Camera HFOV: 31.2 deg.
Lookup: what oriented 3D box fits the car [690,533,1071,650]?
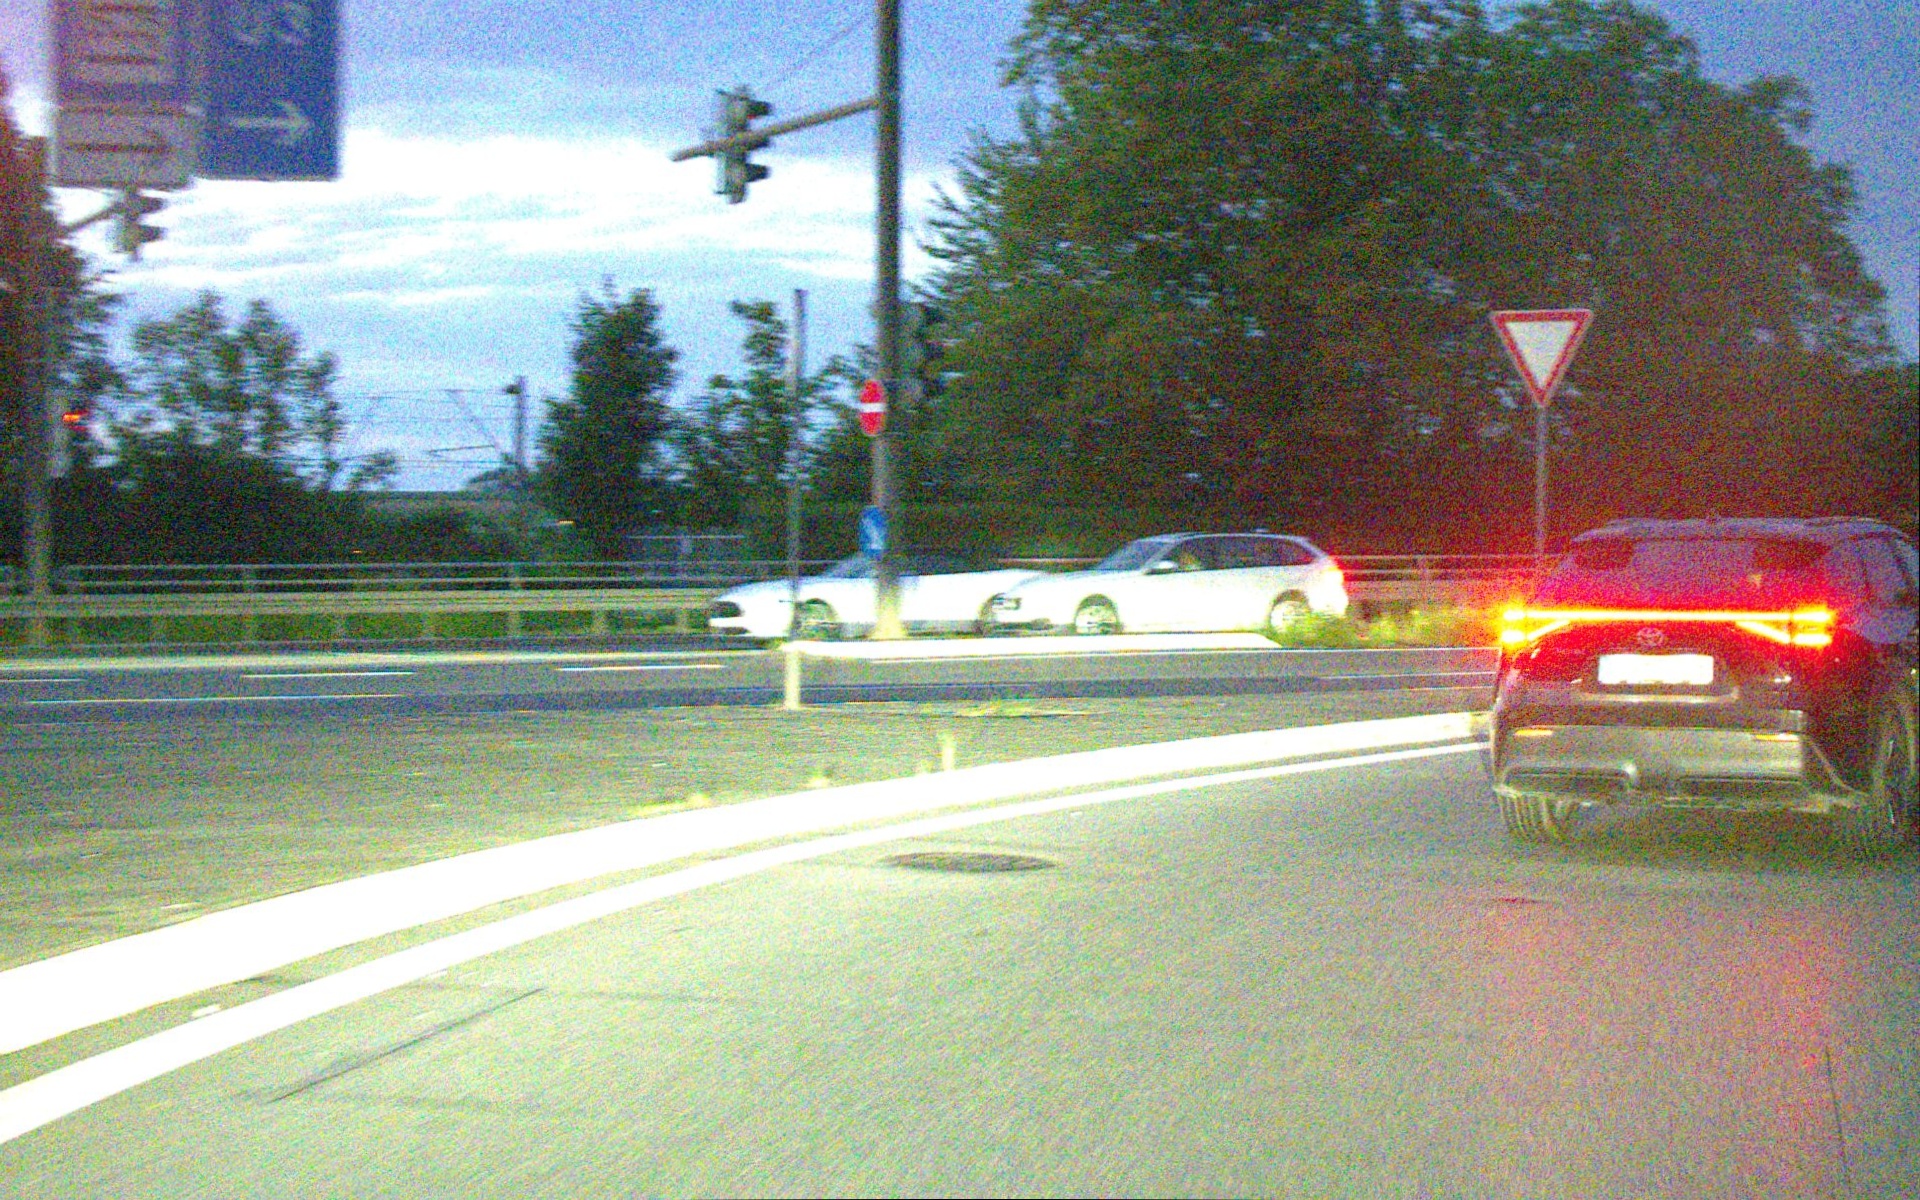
[{"bbox_3d":[-1.071,-0.138,46.437,4.718,1.448,2.000,-2,1,-26],"label":"car"}]

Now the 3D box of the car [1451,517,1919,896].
[{"bbox_3d":[4.132,0.405,17.445,1.904,1.614,4.550,2,2,26],"label":"car"}]

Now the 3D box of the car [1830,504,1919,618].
[{"bbox_3d":[14.195,-0.530,45.525,5.029,1.448,2.000,-1,0,-24],"label":"car"}]

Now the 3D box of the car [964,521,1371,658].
[{"bbox_3d":[2.668,-0.122,44.069,4.856,1.676,2.000,0,0,-27],"label":"car"}]
